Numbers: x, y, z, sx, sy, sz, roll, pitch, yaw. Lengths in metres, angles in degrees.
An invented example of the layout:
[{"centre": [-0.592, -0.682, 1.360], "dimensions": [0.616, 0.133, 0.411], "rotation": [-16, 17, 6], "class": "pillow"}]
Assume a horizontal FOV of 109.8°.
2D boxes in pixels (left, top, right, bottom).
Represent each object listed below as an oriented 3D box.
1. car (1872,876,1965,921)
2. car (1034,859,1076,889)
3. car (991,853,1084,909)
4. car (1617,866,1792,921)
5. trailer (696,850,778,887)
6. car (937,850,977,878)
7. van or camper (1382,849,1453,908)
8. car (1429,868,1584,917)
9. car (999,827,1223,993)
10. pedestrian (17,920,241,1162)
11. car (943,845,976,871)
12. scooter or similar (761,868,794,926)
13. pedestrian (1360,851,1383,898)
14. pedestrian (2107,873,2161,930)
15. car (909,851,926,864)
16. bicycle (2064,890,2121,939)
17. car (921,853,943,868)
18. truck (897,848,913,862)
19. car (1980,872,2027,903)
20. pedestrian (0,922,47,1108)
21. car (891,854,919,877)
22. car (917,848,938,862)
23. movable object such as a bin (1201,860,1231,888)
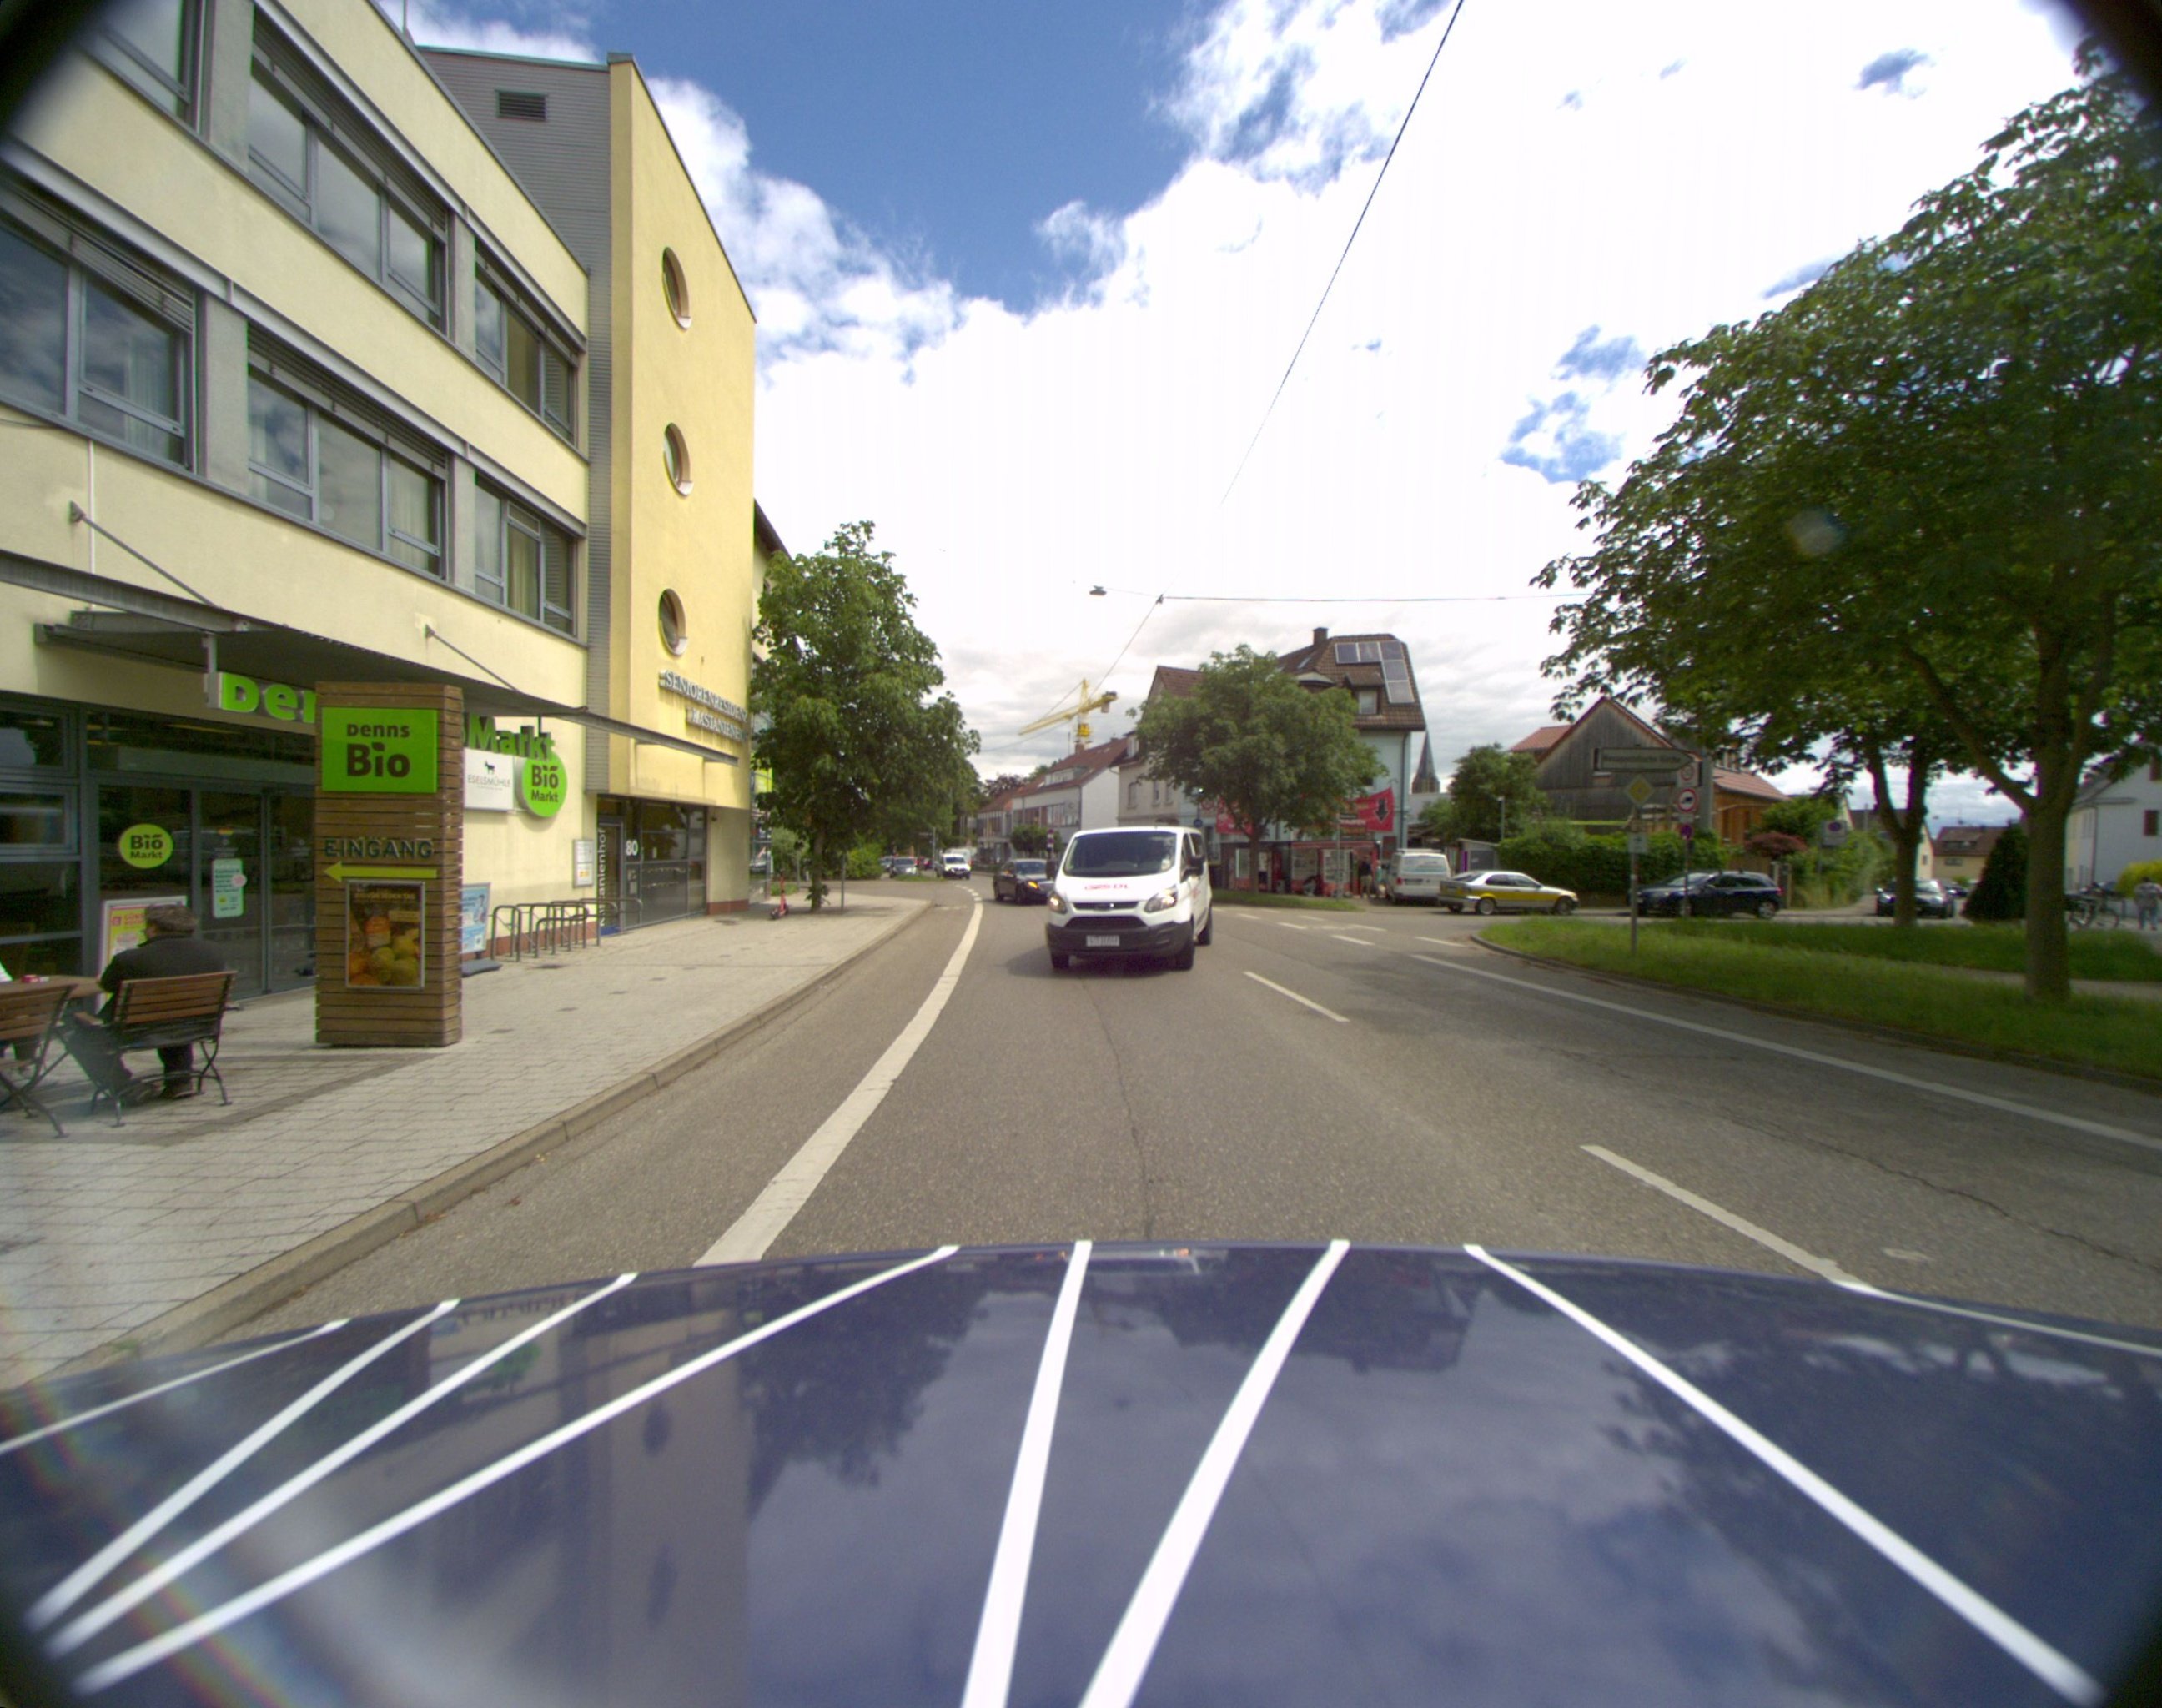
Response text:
[{"centre": [30.411, 1.577, 27.575], "dimensions": [3.784, 1.315, 1.589], "rotation": [-1, 3, -32], "class": "car"}, {"centre": [-1.536, 1.086, 43.576], "dimensions": [1.693, 1.473, 4.221], "rotation": [4, 0, -11], "class": "car"}, {"centre": [-1.555, 0.810, 25.327], "dimensions": [1.811, 1.619, 4.679], "rotation": [-3, 1, -19], "class": "car"}, {"centre": [19.417, 1.206, 23.792], "dimensions": [4.000, 1.540, 1.814], "rotation": [0, 3, -3], "class": "car"}, {"centre": [-15.964, 0.679, 35.376], "dimensions": [3.169, 1.572, 1.392], "rotation": [2, 0, -7], "class": "trailer"}, {"centre": [-8.819, 0.677, 53.883], "dimensions": [1.969, 1.797, 4.420], "rotation": [-1, 2, -20], "class": "car"}, {"centre": [12.611, 0.838, 28.713], "dimensions": [1.787, 1.982, 4.384], "rotation": [1, 1, 16], "class": "van or camper"}, {"centre": [13.541, 1.188, 24.284], "dimensions": [4.029, 1.405, 1.814], "rotation": [0, 2, -8], "class": "car"}, {"centre": [0.789, 0.694, 11.820], "dimensions": [2.104, 1.982, 5.236], "rotation": [-3, 0, 17], "class": "car"}, {"centre": [-5.834, 1.097, 4.682], "dimensions": [0.689, 1.309, 0.579], "rotation": [0, 2, 13], "class": "pedestrian"}, {"centre": [-11.595, 0.379, 72.477], "dimensions": [2.072, 2.339, 5.173], "rotation": [3, -1, -20], "class": "car"}, {"centre": [-7.407, 1.022, 18.586], "dimensions": [0.382, 1.309, 1.458], "rotation": [0, 2, -7], "class": "scooter or similar"}, {"centre": [11.757, 0.823, 30.742], "dimensions": [0.626, 1.885, 0.563], "rotation": [-1, 2, -32], "class": "pedestrian"}, {"centre": [29.870, 1.334, 21.417], "dimensions": [0.735, 1.584, 0.814], "rotation": [0, -3, -6], "class": "pedestrian"}, {"centre": [-22.378, 0.479, 103.864], "dimensions": [1.697, 1.570, 3.792], "rotation": [1, 1, -21], "class": "car"}, {"centre": [21.779, 1.283, 16.393], "dimensions": [2.230, 0.855, 0.462], "rotation": [-2, 2, -43], "class": "bicycle"}, {"centre": [-16.679, 0.697, 85.079], "dimensions": [1.778, 1.417, 4.101], "rotation": [3, 0, -20], "class": "car"}, {"centre": [-32.557, 0.118, 140.322], "dimensions": [2.315, 2.406, 6.082], "rotation": [-1, 2, -19], "class": "truck"}, {"centre": [54.515, 1.970, 44.955], "dimensions": [3.635, 1.549, 1.589], "rotation": [-2, 3, -41], "class": "car"}, {"centre": [-7.378, 1.069, 4.930], "dimensions": [0.578, 1.197, 0.503], "rotation": [0, 2, -3], "class": "pedestrian"}, {"centre": [-13.365, 0.855, 57.590], "dimensions": [1.697, 1.656, 4.455], "rotation": [1, -1, -18], "class": "car"}, {"centre": [-19.028, 0.104, 94.213], "dimensions": [1.784, 1.514, 4.453], "rotation": [1, 1, -21], "class": "car"}, {"centre": [6.834, 0.980, 38.545], "dimensions": [1.024, 1.347, 1.244], "rotation": [-1, 2, -22], "class": "movable object such as a bin"}]
